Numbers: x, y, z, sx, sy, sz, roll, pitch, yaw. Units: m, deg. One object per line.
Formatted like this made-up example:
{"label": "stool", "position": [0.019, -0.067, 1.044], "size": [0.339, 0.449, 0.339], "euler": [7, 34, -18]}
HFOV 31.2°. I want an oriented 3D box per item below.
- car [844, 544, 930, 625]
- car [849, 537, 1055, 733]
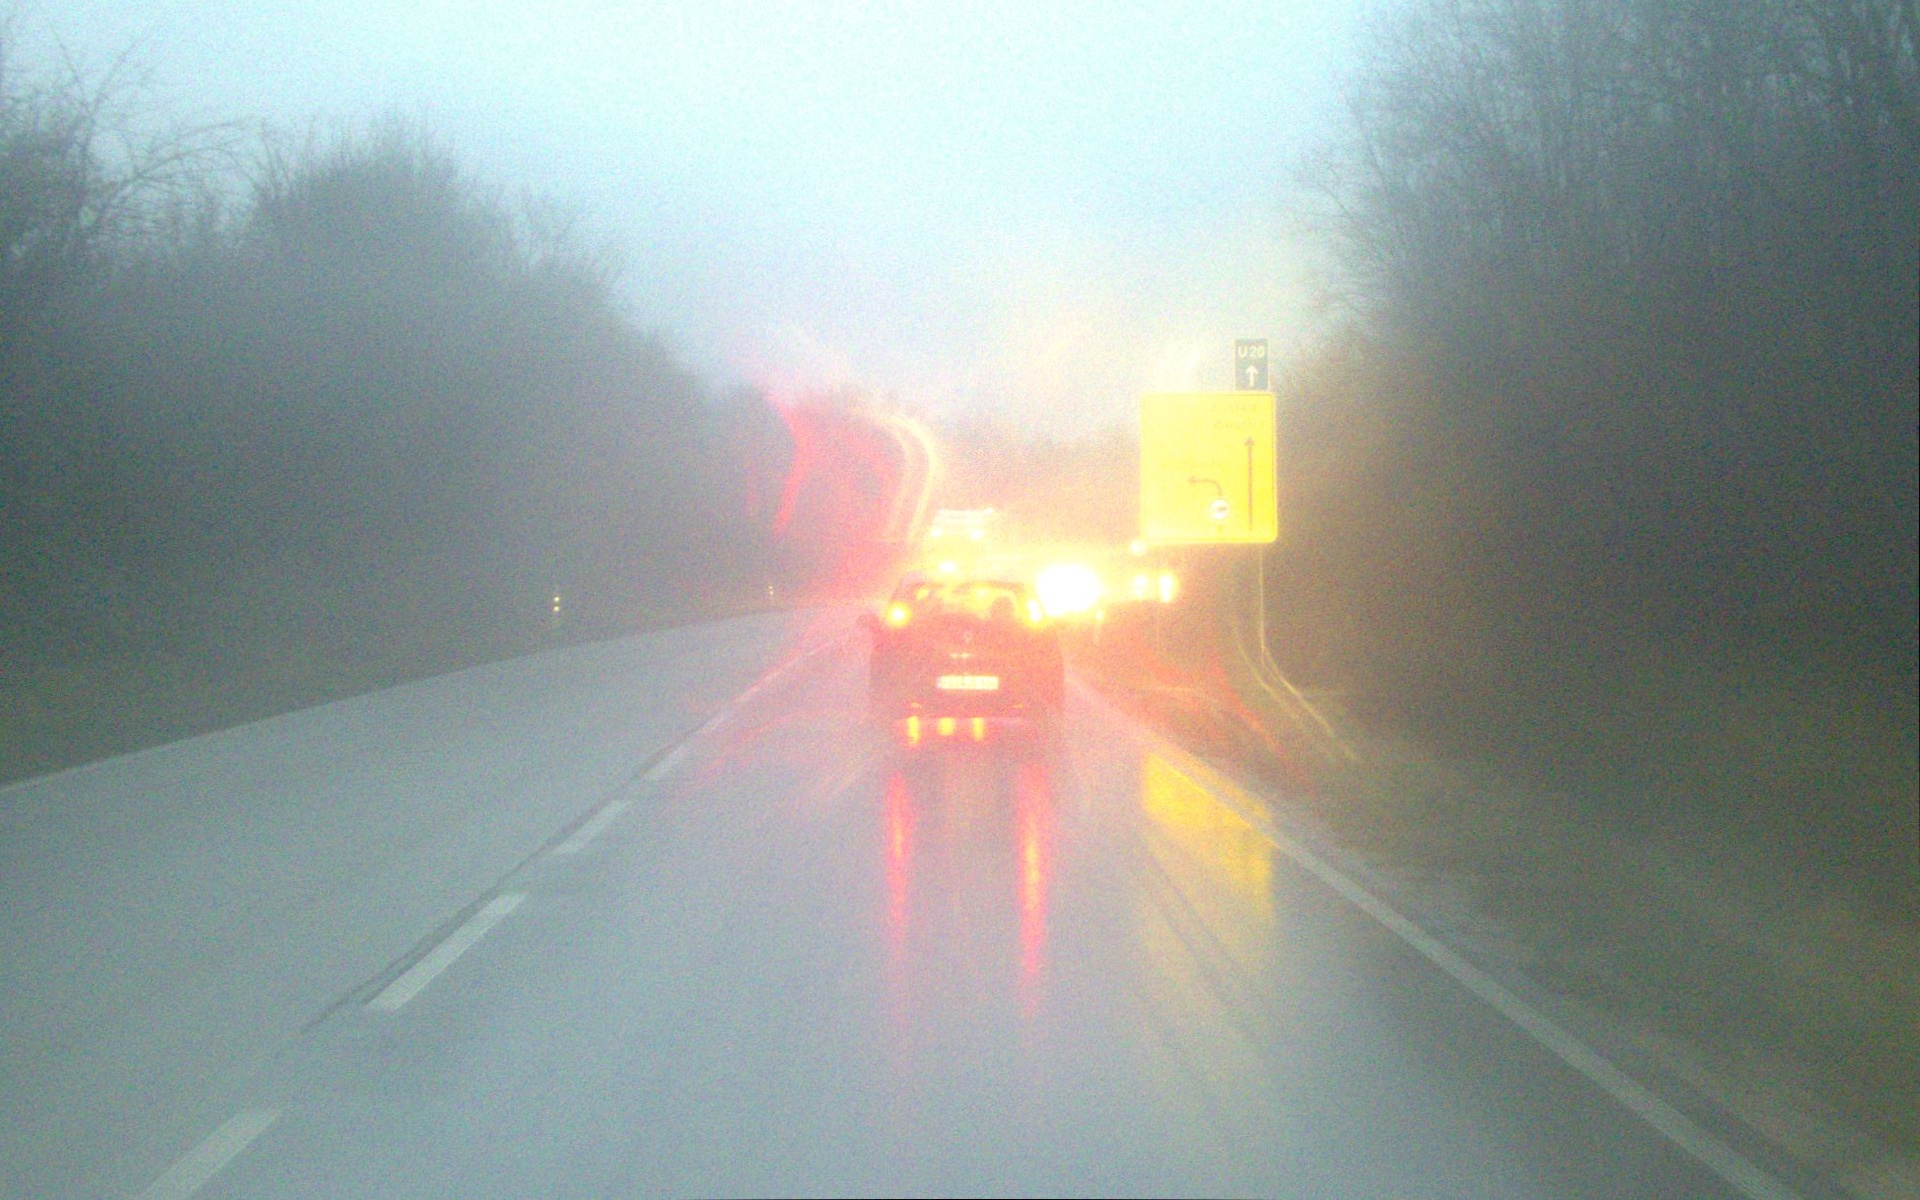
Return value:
{"label": "car", "position": [-1.500, -0.349, 71.765], "size": [1.728, 1.638, 4.000], "euler": [0, 1, 0]}
{"label": "car", "position": [-0.067, 0.264, 30.828], "size": [1.728, 1.638, 4.000], "euler": [0, 1, 0]}
